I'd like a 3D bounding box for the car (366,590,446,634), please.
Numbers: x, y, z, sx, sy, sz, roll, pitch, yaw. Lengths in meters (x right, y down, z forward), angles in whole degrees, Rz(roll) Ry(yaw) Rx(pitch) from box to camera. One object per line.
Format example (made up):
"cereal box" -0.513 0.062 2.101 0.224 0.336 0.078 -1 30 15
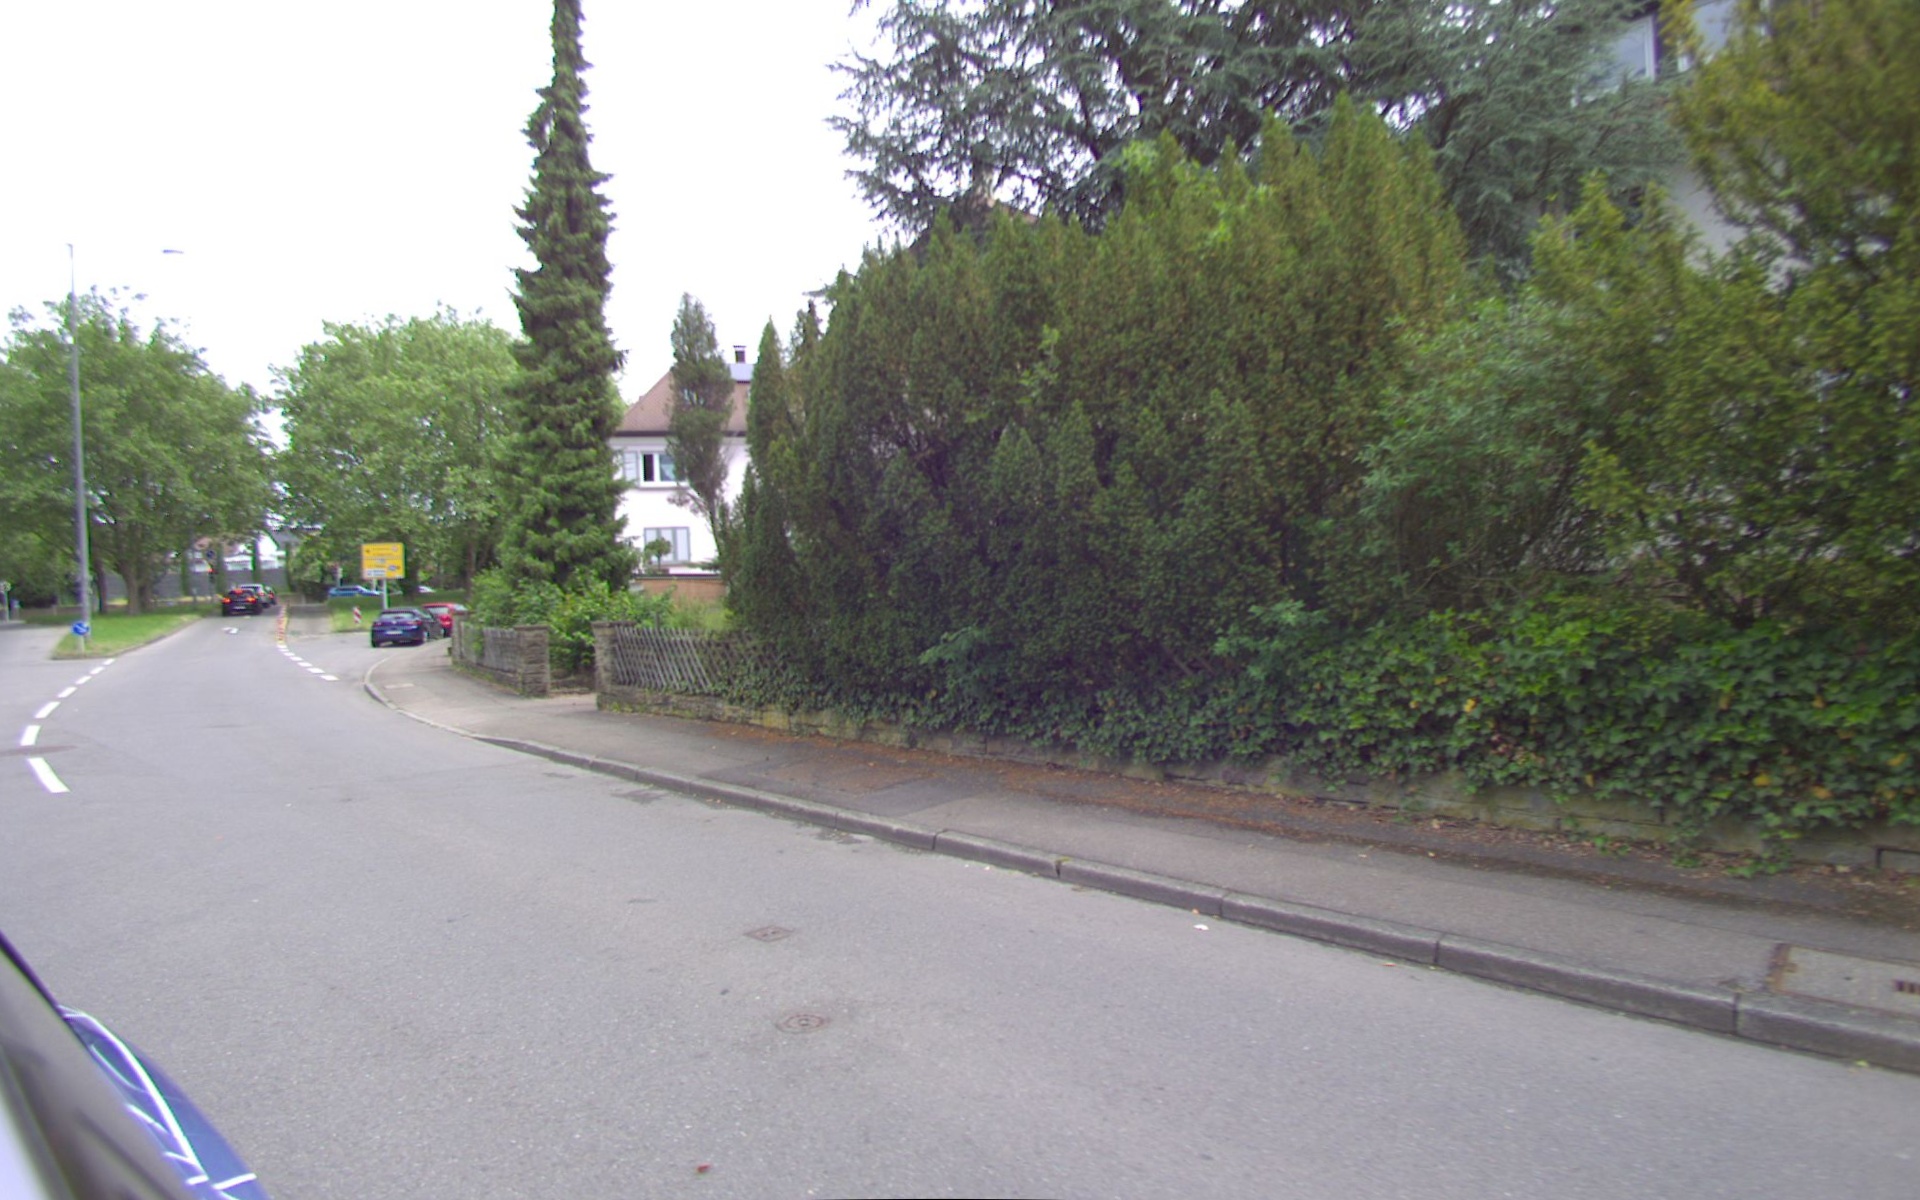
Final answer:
"car" -21.054 0.406 38.624 1.703 1.485 4.327 -2 1 -16

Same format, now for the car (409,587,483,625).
"car" -22.176 0.220 43.834 1.704 1.485 4.289 -2 1 -11

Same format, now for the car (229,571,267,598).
"car" -50.473 -1.087 71.801 1.826 1.671 4.920 -3 0 -32

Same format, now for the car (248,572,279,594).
"car" -53.681 -1.311 78.024 1.733 1.528 4.400 -3 2 -32

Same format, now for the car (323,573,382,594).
"car" -53.337 -1.437 88.863 4.087 1.440 1.798 -3 -3 -2

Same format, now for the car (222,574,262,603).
"car" -44.901 -0.729 63.383 1.733 1.603 4.627 -3 4 -32
